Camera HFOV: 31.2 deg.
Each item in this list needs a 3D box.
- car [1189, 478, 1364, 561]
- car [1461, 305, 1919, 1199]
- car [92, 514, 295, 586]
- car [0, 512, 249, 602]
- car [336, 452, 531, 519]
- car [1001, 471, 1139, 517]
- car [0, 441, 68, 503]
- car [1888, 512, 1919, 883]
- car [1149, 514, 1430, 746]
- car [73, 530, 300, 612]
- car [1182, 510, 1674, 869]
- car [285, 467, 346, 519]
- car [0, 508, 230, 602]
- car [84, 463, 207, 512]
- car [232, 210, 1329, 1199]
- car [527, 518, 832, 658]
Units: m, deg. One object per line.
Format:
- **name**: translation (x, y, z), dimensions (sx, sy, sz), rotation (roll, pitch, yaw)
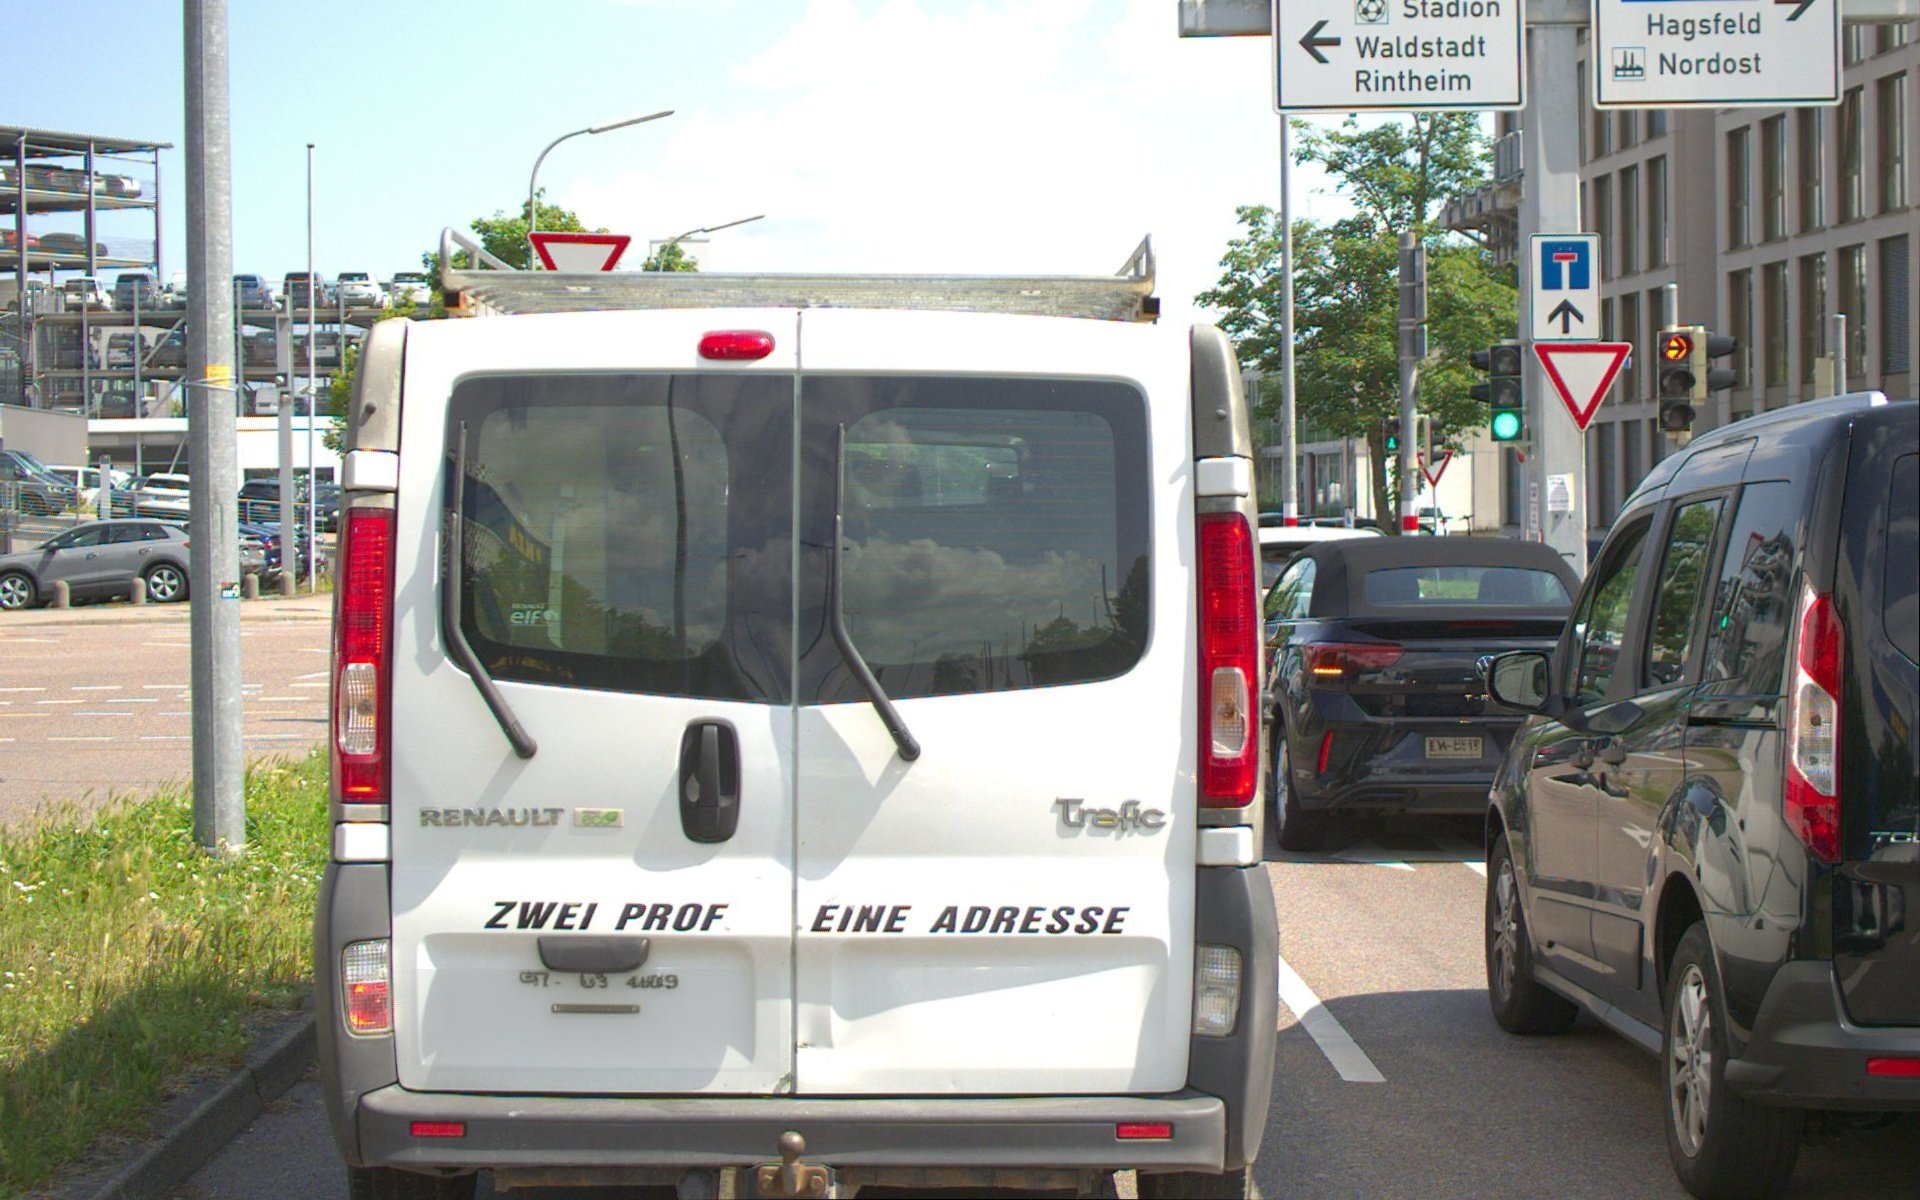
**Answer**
- **car**: translation (7.894, -1.997, 85.920), dimensions (3.986, 2.007, 2.000), rotation (1, 0, -8)
- **car**: translation (2.491, 0.319, 8.918), dimensions (1.823, 1.898, 4.000), rotation (0, 1, 1)
- **car**: translation (-18.679, -1.206, 83.942), dimensions (4.574, 1.672, 1.907), rotation (1, 0, -3)
- **car**: translation (-16.292, -0.835, 66.916), dimensions (4.574, 1.672, 1.907), rotation (1, 0, -3)
- **car**: translation (-17.735, -3.846, 115.939), dimensions (6.386, 2.095, 1.765), rotation (1, 0, -5)
- **car**: translation (5.169, -5.009, 162.598), dimensions (6.340, 2.007, 2.573), rotation (1, 0, -2)
- **car**: translation (-29.275, -3.857, 103.549), dimensions (4.440, 1.795, 1.765), rotation (1, 0, -6)
- **car**: translation (5.195, 0.452, 13.679), dimensions (1.859, 1.650, 4.219), rotation (1, 0, 0)
- **car**: translation (2.422, 0.172, 26.112), dimensions (1.774, 1.624, 4.000), rotation (0, 1, 1)
- **car**: translation (-16.964, -0.653, 75.581), dimensions (4.574, 1.672, 1.908), rotation (-1, 2, -3)
- **car**: translation (2.251, 0.368, 17.572), dimensions (1.773, 1.624, 4.001), rotation (0, 1, -3)
- **car**: translation (-20.412, -3.378, 108.977), dimensions (1.560, 1.547, 3.603), rotation (1, 1, -5)
- **car**: translation (-16.188, -0.845, 64.633), dimensions (4.574, 1.672, 1.907), rotation (1, 0, -3)
- **car**: translation (-27.481, -3.807, 116.105), dimensions (3.986, 1.547, 1.765), rotation (1, 0, -12)
- **car**: translation (-0.351, 0.284, 8.483), dimensions (1.973, 2.053, 4.565), rotation (0, 1, -1)
- **car**: translation (-3.113, -0.148, 37.426), dimensions (1.854, 1.437, 4.001), rotation (1, 1, -28)
